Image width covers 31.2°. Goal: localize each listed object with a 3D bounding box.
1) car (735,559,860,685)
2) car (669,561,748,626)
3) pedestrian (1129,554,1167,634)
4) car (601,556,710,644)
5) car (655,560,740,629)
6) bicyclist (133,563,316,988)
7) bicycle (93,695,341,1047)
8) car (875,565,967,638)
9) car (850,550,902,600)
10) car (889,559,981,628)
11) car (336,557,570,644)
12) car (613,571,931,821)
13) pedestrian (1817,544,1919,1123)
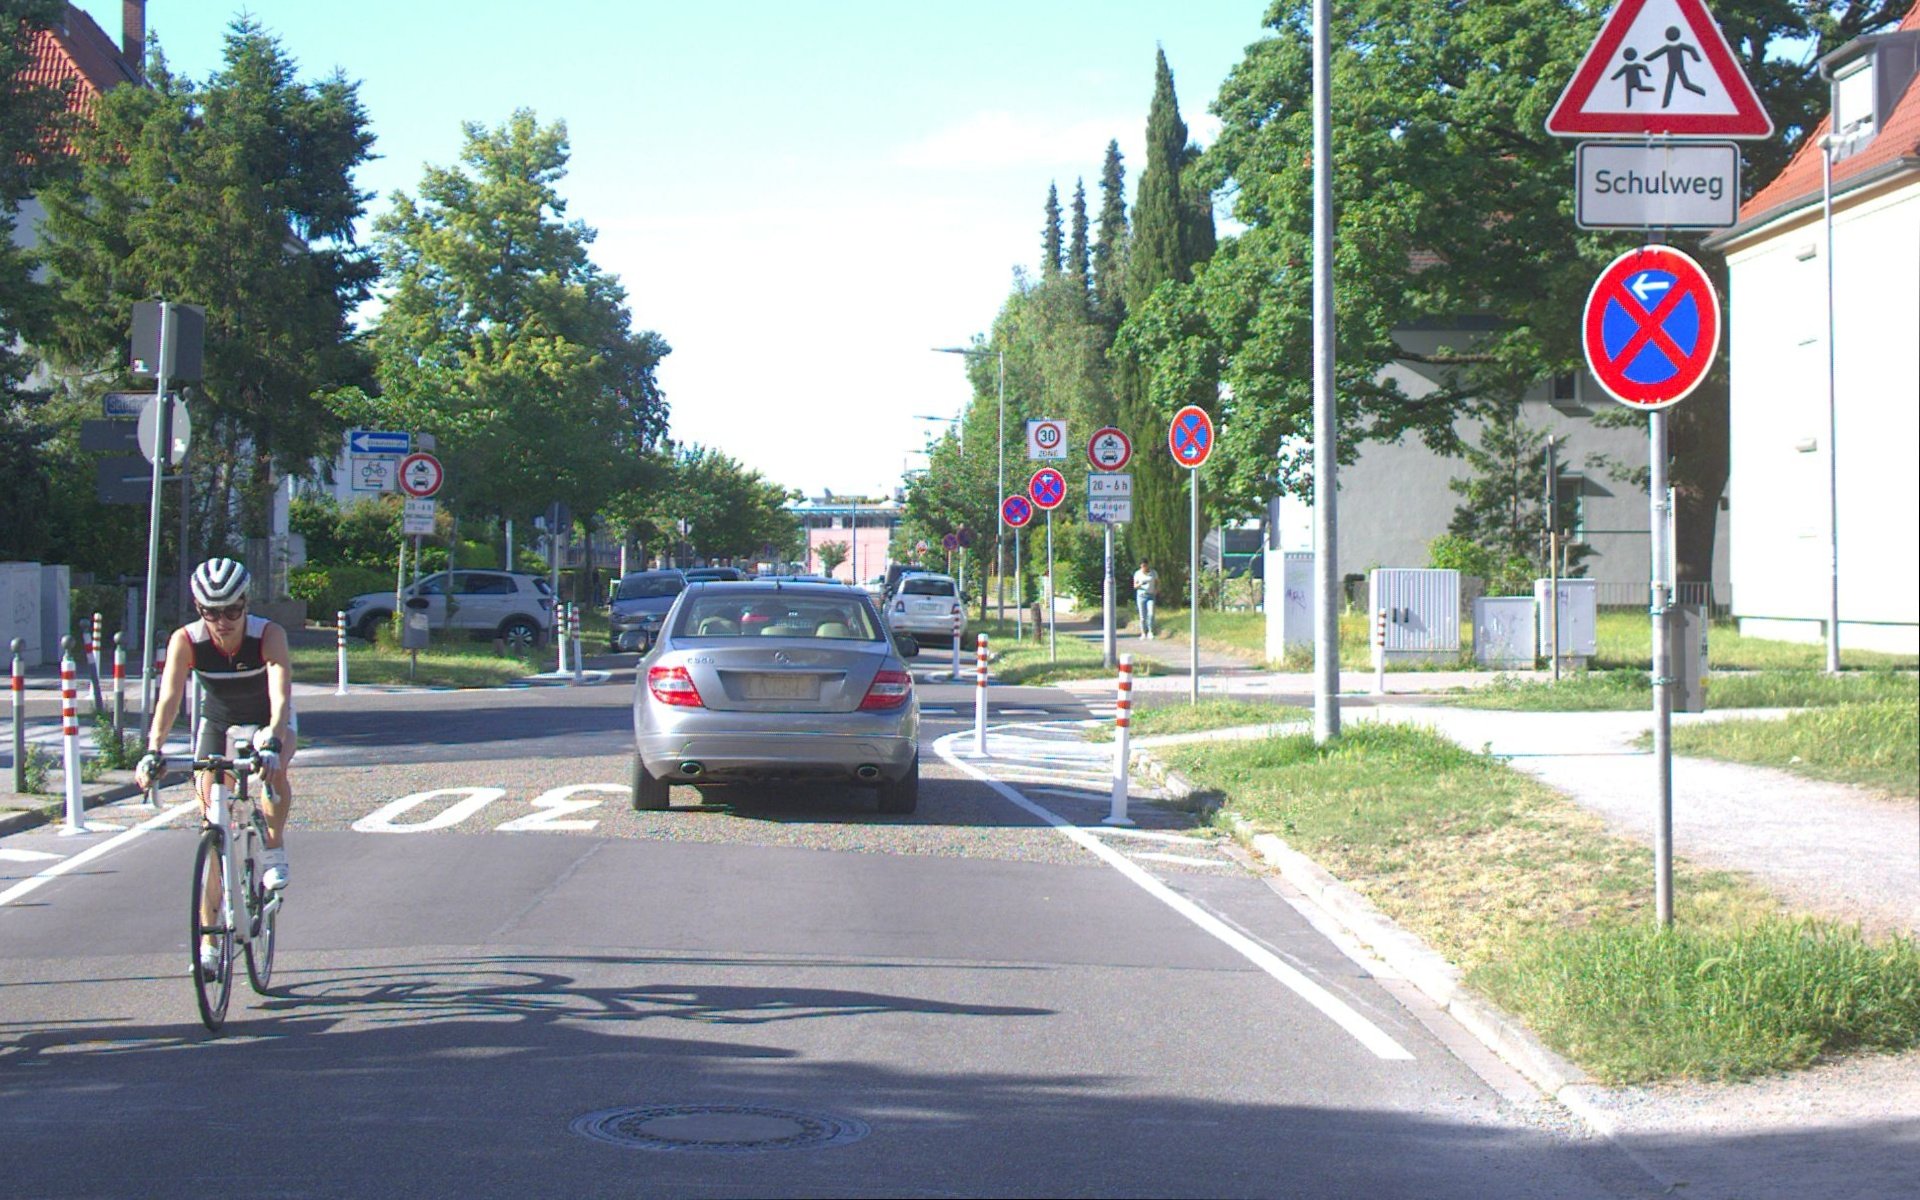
[{"bbox_3d":[-2.210,0.266,46.094,1.597,1.604,3.644,0,1,-4],"label":"car"},{"bbox_3d":[-6.766,-0.197,92.910,1.993,1.604,4.001,-3,1,-3],"label":"car"},{"bbox_3d":[3.832,-0.129,69.954,0.766,1.605,0.834,0,0,3],"label":"pedestrian"},{"bbox_3d":[-6.116,-0.027,69.393,1.993,1.604,4.001,-3,1,-3],"label":"car"},{"bbox_3d":[-6.640,-0.156,87.198,1.993,1.604,4.001,-3,1,-3],"label":"car"},{"bbox_3d":[-2.590,0.599,12.150,0.496,1.459,0.687,0,0,0],"label":"bicyclist"},{"bbox_3d":[-2.589,0.911,12.121,0.505,1.085,1.709,0,1,0],"label":"bicycle"},{"bbox_3d":[-0.843,0.012,71.785,1.733,1.475,3.726,0,1,-4],"label":"car"},{"bbox_3d":[-3.139,-0.937,127.681,1.854,1.835,4.000,0,1,-2],"label":"car"},{"bbox_3d":[-0.620,-0.186,82.642,1.993,1.604,4.001,0,1,-4],"label":"car"},{"bbox_3d":[-9.425,0.002,64.173,4.191,1.558,1.842,1,0,-4],"label":"car"},{"bbox_3d":[-1.115,0.545,22.070,1.836,1.436,4.000,1,0,0],"label":"car"},{"bbox_3d":[3.286,0.647,10.037,1.086,1.668,0.914,-5,2,-18],"label":"pedestrian"}]
